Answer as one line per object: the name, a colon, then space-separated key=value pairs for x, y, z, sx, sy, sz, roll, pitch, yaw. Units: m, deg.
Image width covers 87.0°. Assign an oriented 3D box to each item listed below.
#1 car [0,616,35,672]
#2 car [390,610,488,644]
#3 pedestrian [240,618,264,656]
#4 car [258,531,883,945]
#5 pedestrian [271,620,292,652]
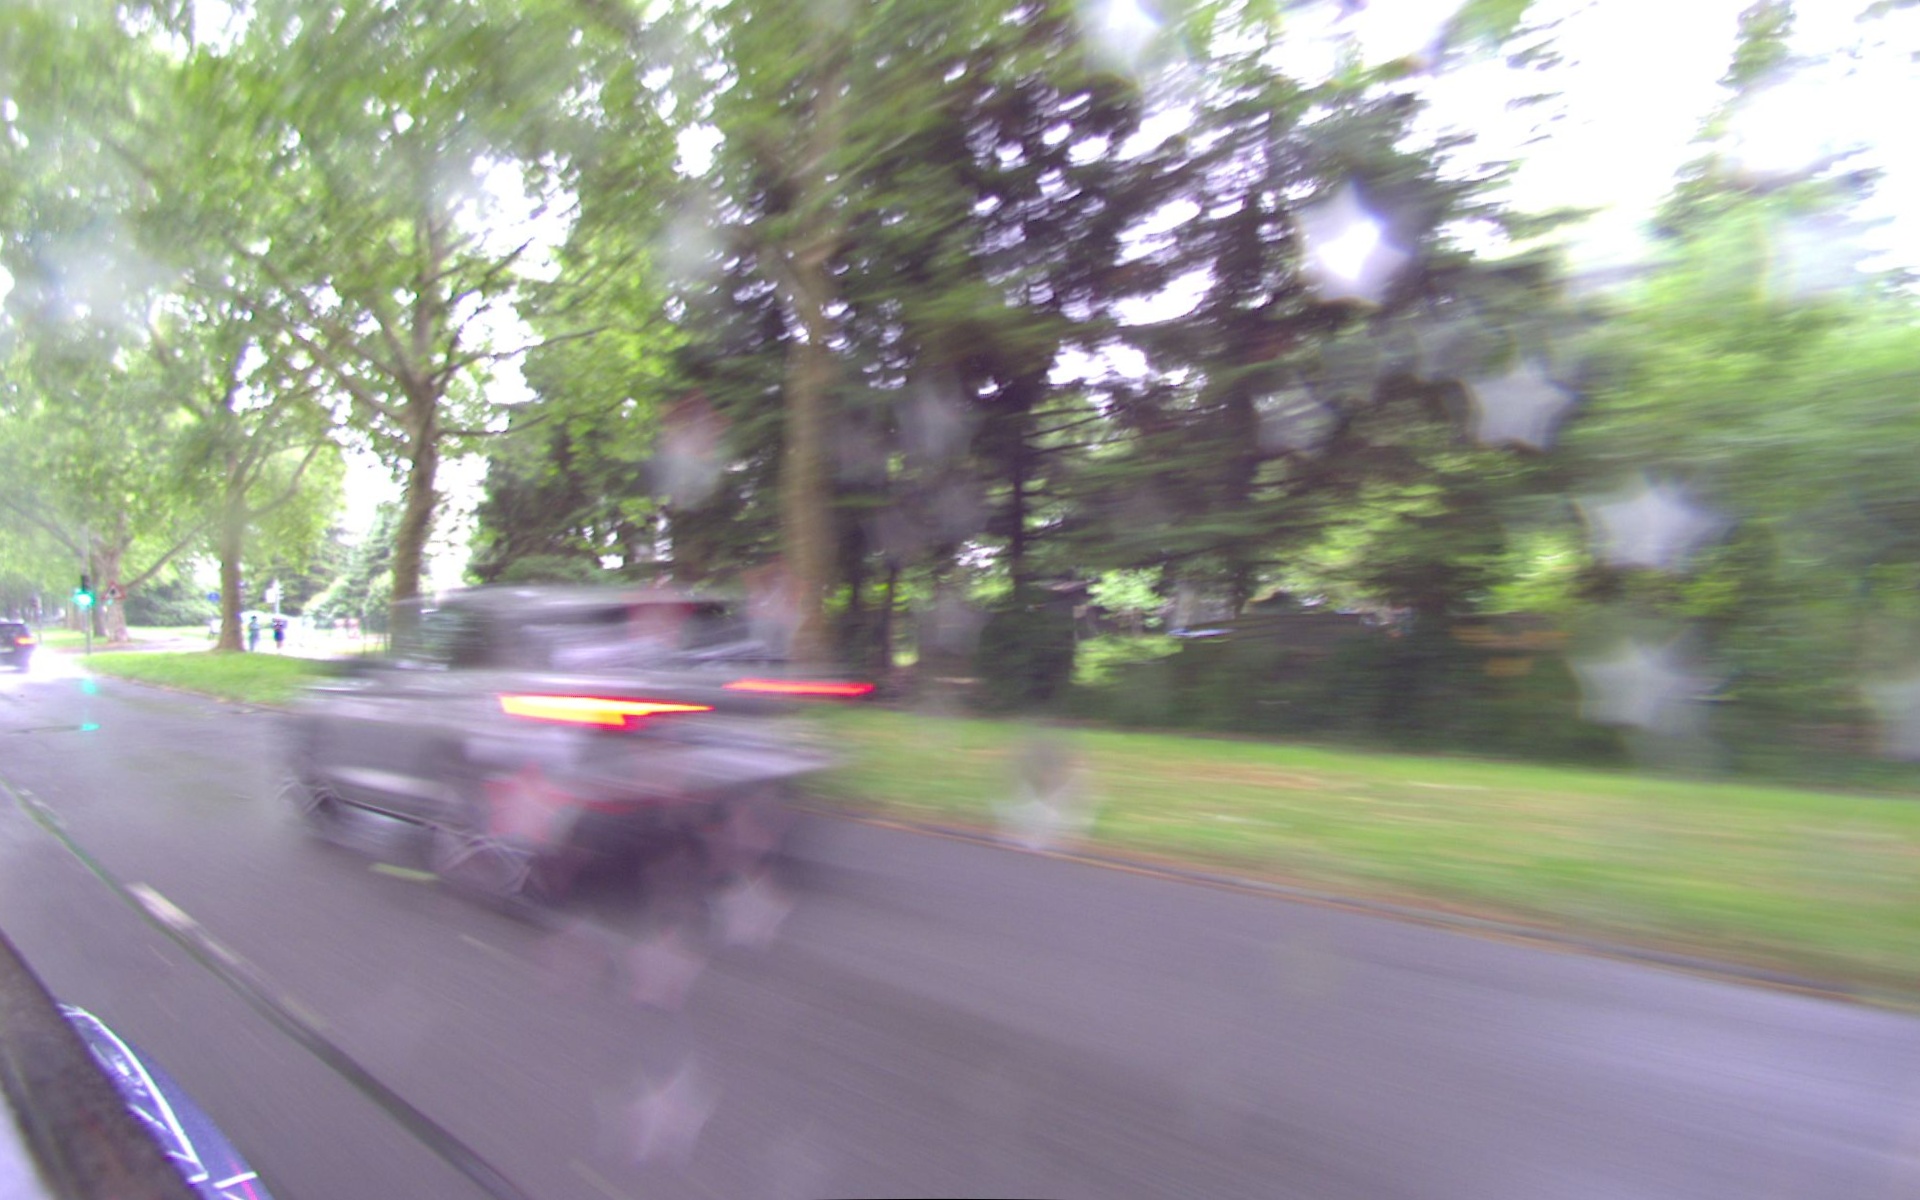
car: x=-31.147 y=1.397 z=32.477 sx=4.774 sy=1.667 sz=1.798 roll=-1 pitch=1 yaw=43
car: x=-29.606 y=1.510 z=57.582 sx=4.647 sy=1.700 sz=2.003 roll=-2 pitch=1 yaw=-40
pedestrian: x=-28.353 y=1.471 z=40.515 sx=0.857 sy=1.464 sz=0.591 roll=-1 pitch=0 yaw=43
car: x=-2.702 y=0.595 z=6.396 sx=4.452 sy=1.741 sz=1.790 roll=-1 pitch=1 yaw=41
pedestrian: x=-27.655 y=1.471 z=41.253 sx=0.849 sy=1.271 sz=0.510 roll=-1 pitch=0 yaw=43
